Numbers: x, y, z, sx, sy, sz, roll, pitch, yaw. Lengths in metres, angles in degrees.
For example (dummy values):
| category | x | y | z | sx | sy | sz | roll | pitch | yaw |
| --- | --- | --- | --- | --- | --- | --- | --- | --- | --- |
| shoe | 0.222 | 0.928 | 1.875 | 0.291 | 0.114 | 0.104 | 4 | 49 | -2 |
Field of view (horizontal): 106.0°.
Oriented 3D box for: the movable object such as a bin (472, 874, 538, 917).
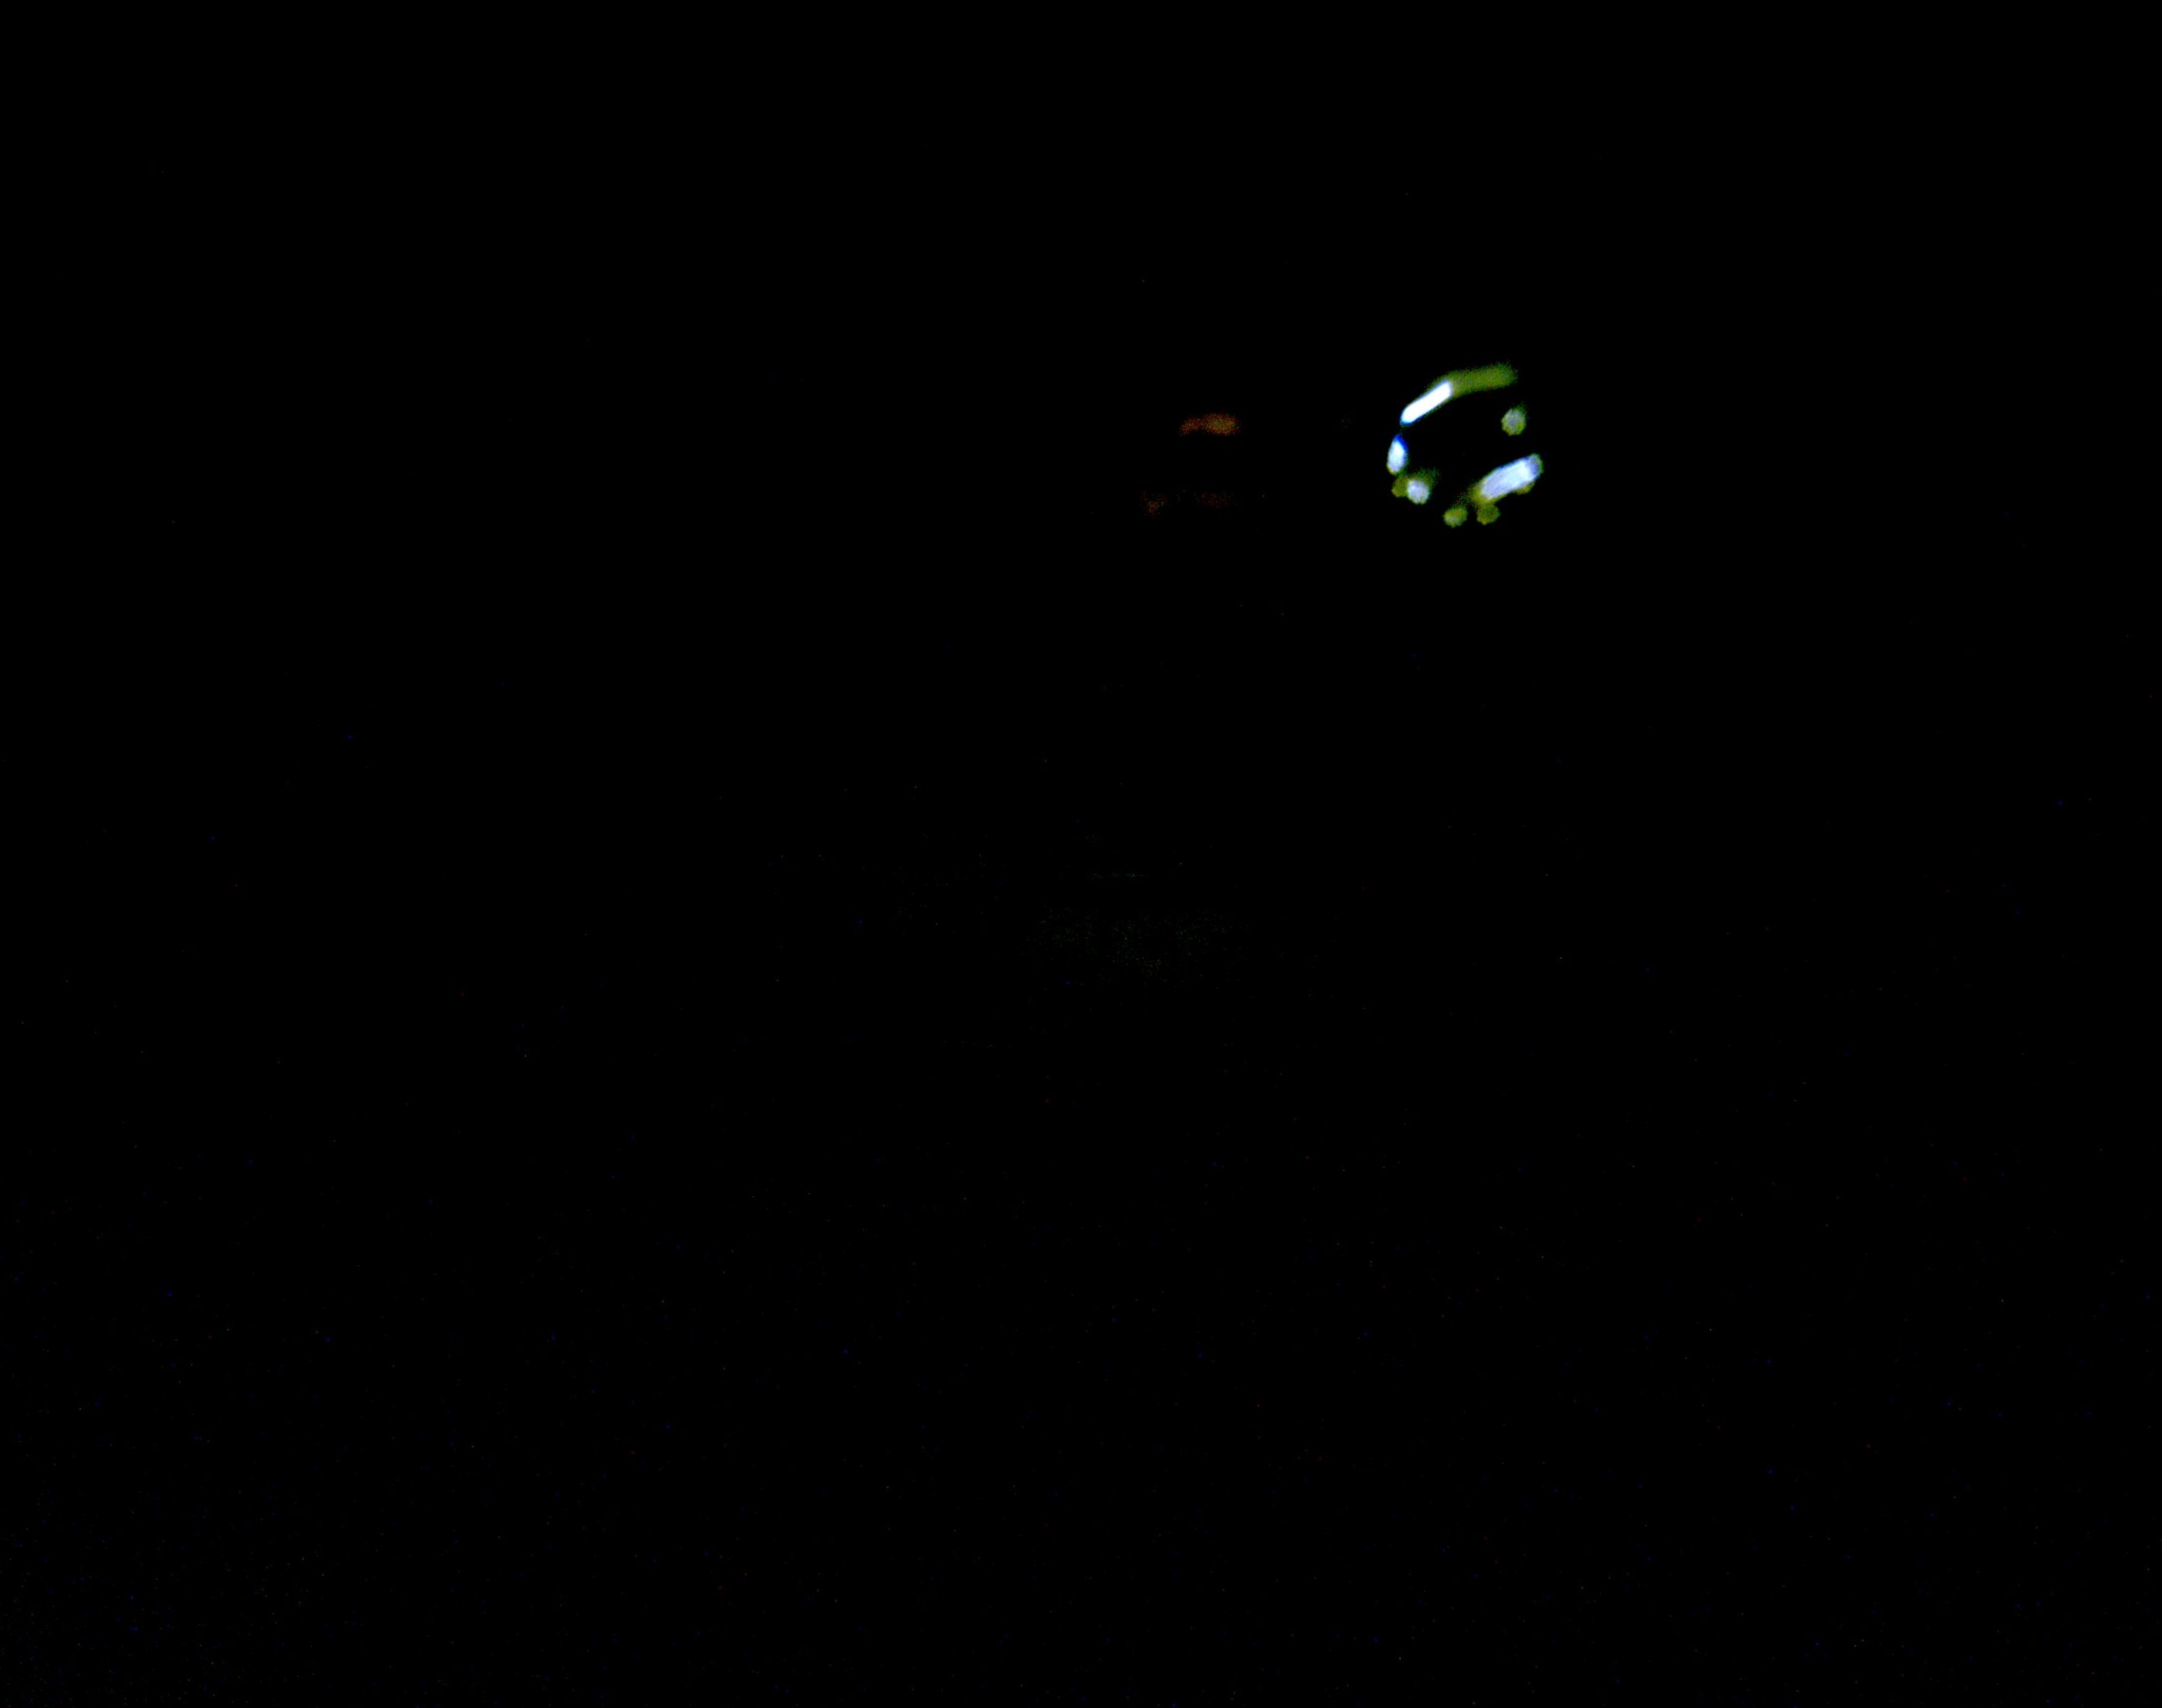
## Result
| category | x | y | z | sx | sy | sz | roll | pitch | yaw |
| --- | --- | --- | --- | --- | --- | --- | --- | --- | --- |
| movable object such as a bin | -20.235 | 1.435 | 28.638 | 1.384 | 1.413 | 1.250 | -2 | 0 | -3 |

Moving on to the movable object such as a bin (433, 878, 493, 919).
| category | x | y | z | sx | sy | sz | roll | pitch | yaw |
| --- | --- | --- | --- | --- | --- | --- | --- | --- | --- |
| movable object such as a bin | -21.551 | 1.538 | 28.425 | 1.228 | 1.325 | 1.150 | -1 | 0 | -9 |

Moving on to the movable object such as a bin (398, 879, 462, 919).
| category | x | y | z | sx | sy | sz | roll | pitch | yaw |
| --- | --- | --- | --- | --- | --- | --- | --- | --- | --- |
| movable object such as a bin | -22.847 | 1.568 | 28.623 | 1.319 | 1.309 | 1.172 | -1 | 1 | -11 |

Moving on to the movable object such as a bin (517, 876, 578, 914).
| category | x | y | z | sx | sy | sz | roll | pitch | yaw |
| --- | --- | --- | --- | --- | --- | --- | --- | --- | --- |
| movable object such as a bin | -18.788 | 1.433 | 28.724 | 1.311 | 1.299 | 1.249 | 0 | -1 | -3 |
